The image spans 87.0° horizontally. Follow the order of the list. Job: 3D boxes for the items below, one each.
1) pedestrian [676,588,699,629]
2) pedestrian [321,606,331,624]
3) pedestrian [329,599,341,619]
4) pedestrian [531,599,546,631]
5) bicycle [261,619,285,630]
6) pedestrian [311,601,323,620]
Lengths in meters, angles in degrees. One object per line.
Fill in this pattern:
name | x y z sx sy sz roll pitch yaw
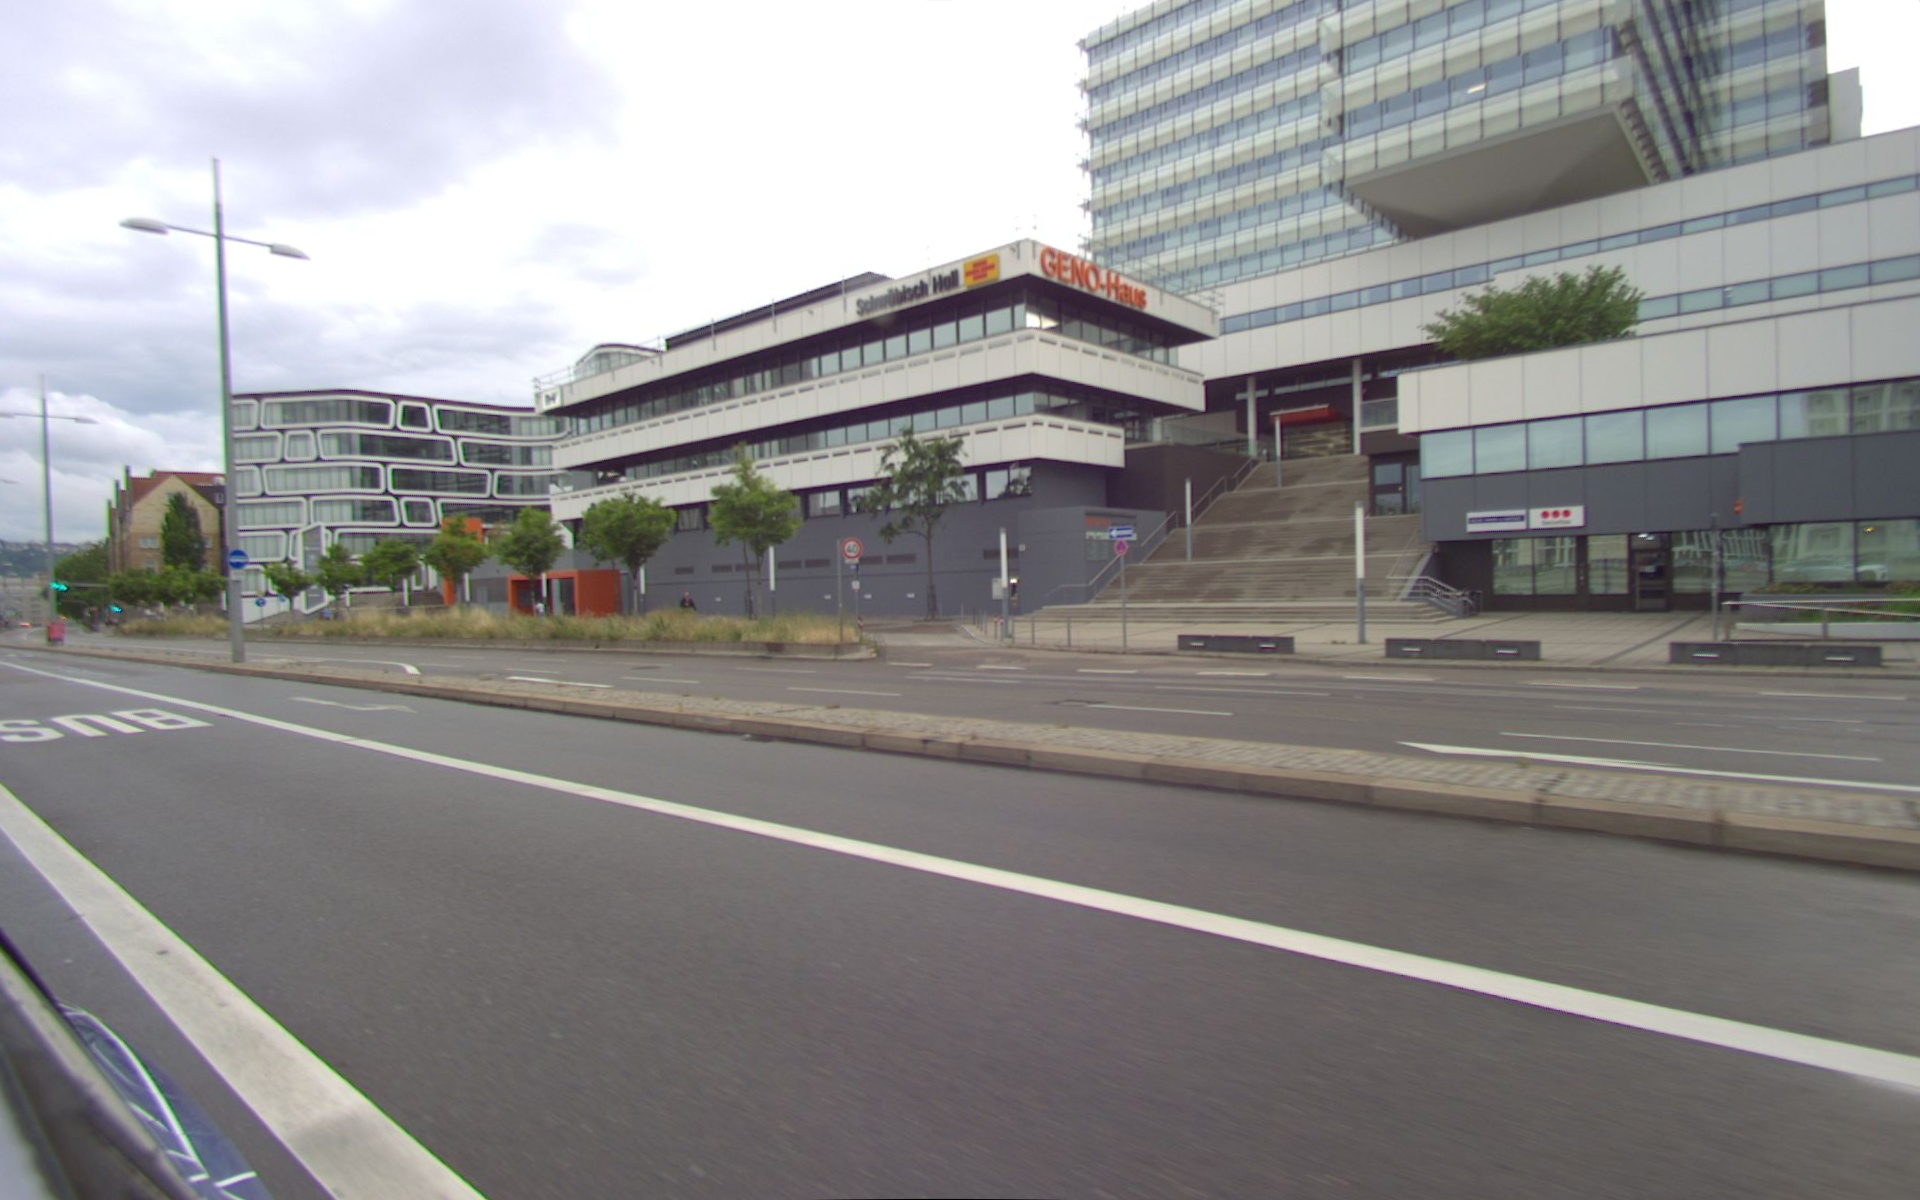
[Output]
pedestrian | -12.393 0.386 45.973 0.628 1.821 0.776 0 1 42
pedestrian | -57.317 1.332 91.453 0.603 1.623 0.640 -3 2 -45
pedestrian | -50.812 0.730 82.232 0.798 1.670 0.611 0 -1 43
pedestrian | -24.458 0.866 58.716 0.628 1.821 0.623 0 1 42
bicycle | -54.354 1.964 80.094 1.638 0.864 0.608 0 1 9
pedestrian | -51.662 0.827 81.260 0.798 1.457 0.611 0 1 43
